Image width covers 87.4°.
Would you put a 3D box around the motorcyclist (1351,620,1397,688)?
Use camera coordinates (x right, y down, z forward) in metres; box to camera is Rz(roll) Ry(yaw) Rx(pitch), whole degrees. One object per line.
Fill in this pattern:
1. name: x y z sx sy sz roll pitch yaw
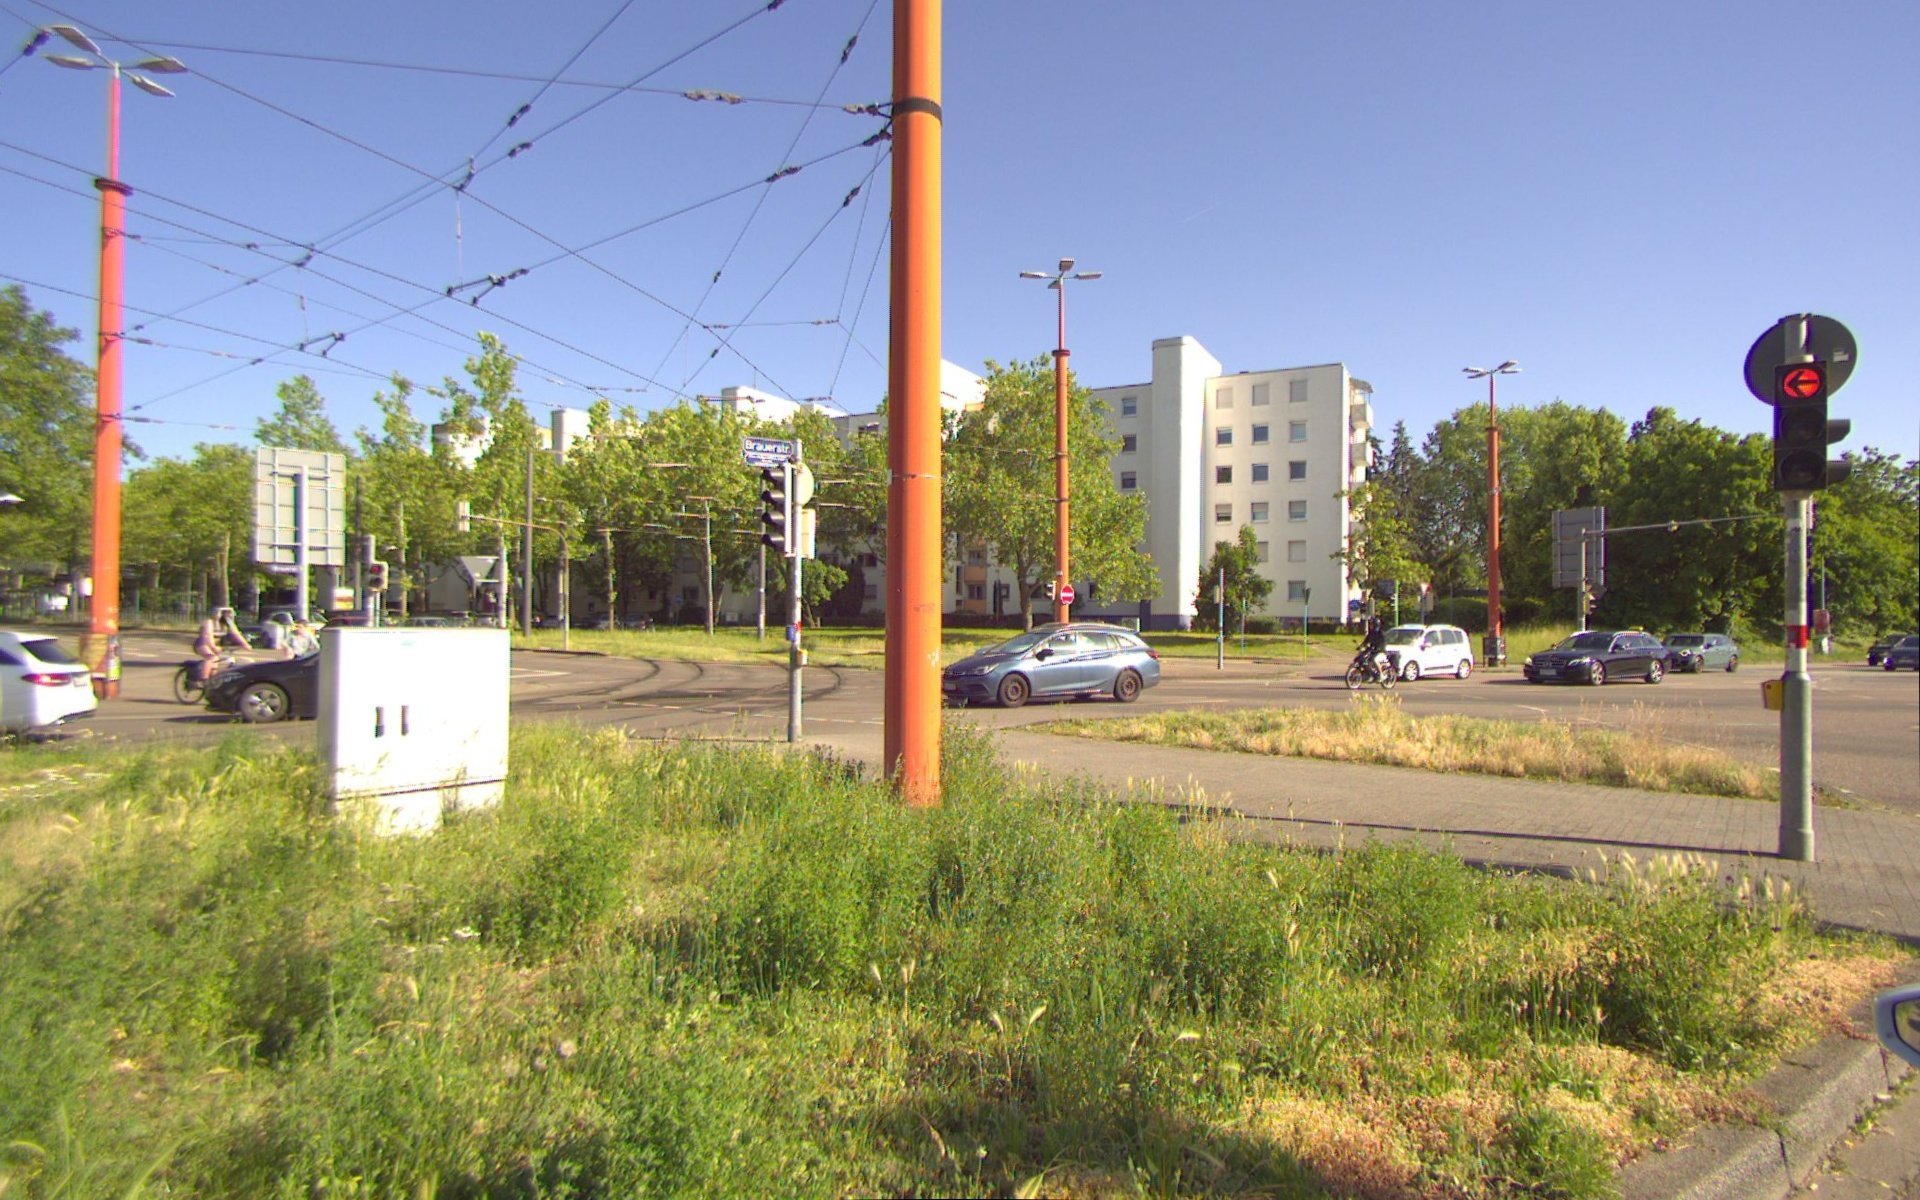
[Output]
1. motorcyclist: 10.163 1.316 24.680 0.631 1.621 0.833 2 0 -21

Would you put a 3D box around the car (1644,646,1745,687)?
1. car: 27.661 2.470 37.801 4.088 1.406 1.424 2 0 -28

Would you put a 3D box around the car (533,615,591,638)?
1. car: -30.799 2.066 77.760 3.934 1.617 1.889 2 0 -15

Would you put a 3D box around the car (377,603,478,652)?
1. car: -23.080 1.152 43.516 4.200 1.926 1.996 1 0 31

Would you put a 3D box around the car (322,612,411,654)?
1. car: -27.710 1.505 46.902 3.929 1.773 1.909 1 0 31

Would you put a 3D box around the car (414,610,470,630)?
1. car: -45.154 1.764 87.620 3.934 1.617 1.889 2 0 -15

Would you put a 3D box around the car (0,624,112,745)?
1. car: -13.273 0.982 11.932 4.587 1.441 1.696 2 -2 -29

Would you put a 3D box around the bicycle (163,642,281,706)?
1. bicycle: -14.017 1.391 19.068 2.313 1.095 0.474 1 0 17

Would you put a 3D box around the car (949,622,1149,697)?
1. car: 2.114 1.365 23.607 4.381 1.622 1.832 2 -2 -27

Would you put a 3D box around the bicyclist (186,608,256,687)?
1. bicyclist: -14.007 0.888 19.056 0.742 1.449 0.752 1 0 17

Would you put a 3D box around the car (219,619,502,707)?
1. car: -10.181 1.047 17.358 3.983 1.359 1.853 2 -2 -30

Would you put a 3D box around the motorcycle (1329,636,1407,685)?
1. motorcycle: 10.026 1.485 24.664 2.065 1.146 0.420 2 0 -22

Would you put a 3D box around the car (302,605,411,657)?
1. car: -24.305 1.220 40.439 4.200 1.926 1.996 1 0 31

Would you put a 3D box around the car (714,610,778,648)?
1. car: -13.862 1.875 65.035 3.934 2.341 1.889 2 0 -15

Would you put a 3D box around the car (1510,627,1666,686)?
1. car: 17.965 1.580 28.690 4.551 1.505 1.867 2 0 -30

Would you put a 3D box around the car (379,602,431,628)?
1. car: -44.881 1.185 81.241 4.334 2.040 1.994 0 -1 35

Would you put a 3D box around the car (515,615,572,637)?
1. car: -32.879 2.024 79.404 3.934 1.617 1.889 2 0 -15

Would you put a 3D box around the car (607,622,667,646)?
1. car: -23.203 2.439 72.235 3.934 1.617 1.889 2 0 -15

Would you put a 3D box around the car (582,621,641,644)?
1. car: -25.693 2.389 74.213 3.934 1.617 1.889 2 0 -15

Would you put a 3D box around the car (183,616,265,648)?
1. car: -34.723 1.505 47.357 3.929 1.339 1.732 1 0 31

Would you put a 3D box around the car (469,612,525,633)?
1. car: -38.584 1.908 83.763 3.934 1.617 1.889 2 0 -15

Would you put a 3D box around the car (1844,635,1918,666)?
1. car: 45.475 2.492 49.591 3.838 1.452 1.538 2 -3 -29

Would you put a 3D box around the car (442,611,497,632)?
1. car: -41.784 1.838 85.645 3.934 1.617 1.889 2 0 -15

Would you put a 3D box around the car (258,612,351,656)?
1. car: -28.898 1.464 44.275 3.929 1.773 1.909 1 0 31

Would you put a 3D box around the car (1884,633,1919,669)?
1. car: 38.989 2.041 40.382 4.211 1.395 1.541 1 -1 -30

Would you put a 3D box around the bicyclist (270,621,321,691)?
1. bicyclist: -13.172 1.103 19.917 0.687 1.340 0.548 1 0 28

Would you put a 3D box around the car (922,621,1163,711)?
1. car: 1.649 1.253 19.891 4.406 1.615 1.986 1 -2 -27

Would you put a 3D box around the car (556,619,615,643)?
1. car: -28.157 2.335 75.674 3.934 1.617 1.889 2 0 -15

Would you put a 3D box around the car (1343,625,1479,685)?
1. car: 13.825 1.651 30.763 4.010 1.730 1.793 2 -2 -29
